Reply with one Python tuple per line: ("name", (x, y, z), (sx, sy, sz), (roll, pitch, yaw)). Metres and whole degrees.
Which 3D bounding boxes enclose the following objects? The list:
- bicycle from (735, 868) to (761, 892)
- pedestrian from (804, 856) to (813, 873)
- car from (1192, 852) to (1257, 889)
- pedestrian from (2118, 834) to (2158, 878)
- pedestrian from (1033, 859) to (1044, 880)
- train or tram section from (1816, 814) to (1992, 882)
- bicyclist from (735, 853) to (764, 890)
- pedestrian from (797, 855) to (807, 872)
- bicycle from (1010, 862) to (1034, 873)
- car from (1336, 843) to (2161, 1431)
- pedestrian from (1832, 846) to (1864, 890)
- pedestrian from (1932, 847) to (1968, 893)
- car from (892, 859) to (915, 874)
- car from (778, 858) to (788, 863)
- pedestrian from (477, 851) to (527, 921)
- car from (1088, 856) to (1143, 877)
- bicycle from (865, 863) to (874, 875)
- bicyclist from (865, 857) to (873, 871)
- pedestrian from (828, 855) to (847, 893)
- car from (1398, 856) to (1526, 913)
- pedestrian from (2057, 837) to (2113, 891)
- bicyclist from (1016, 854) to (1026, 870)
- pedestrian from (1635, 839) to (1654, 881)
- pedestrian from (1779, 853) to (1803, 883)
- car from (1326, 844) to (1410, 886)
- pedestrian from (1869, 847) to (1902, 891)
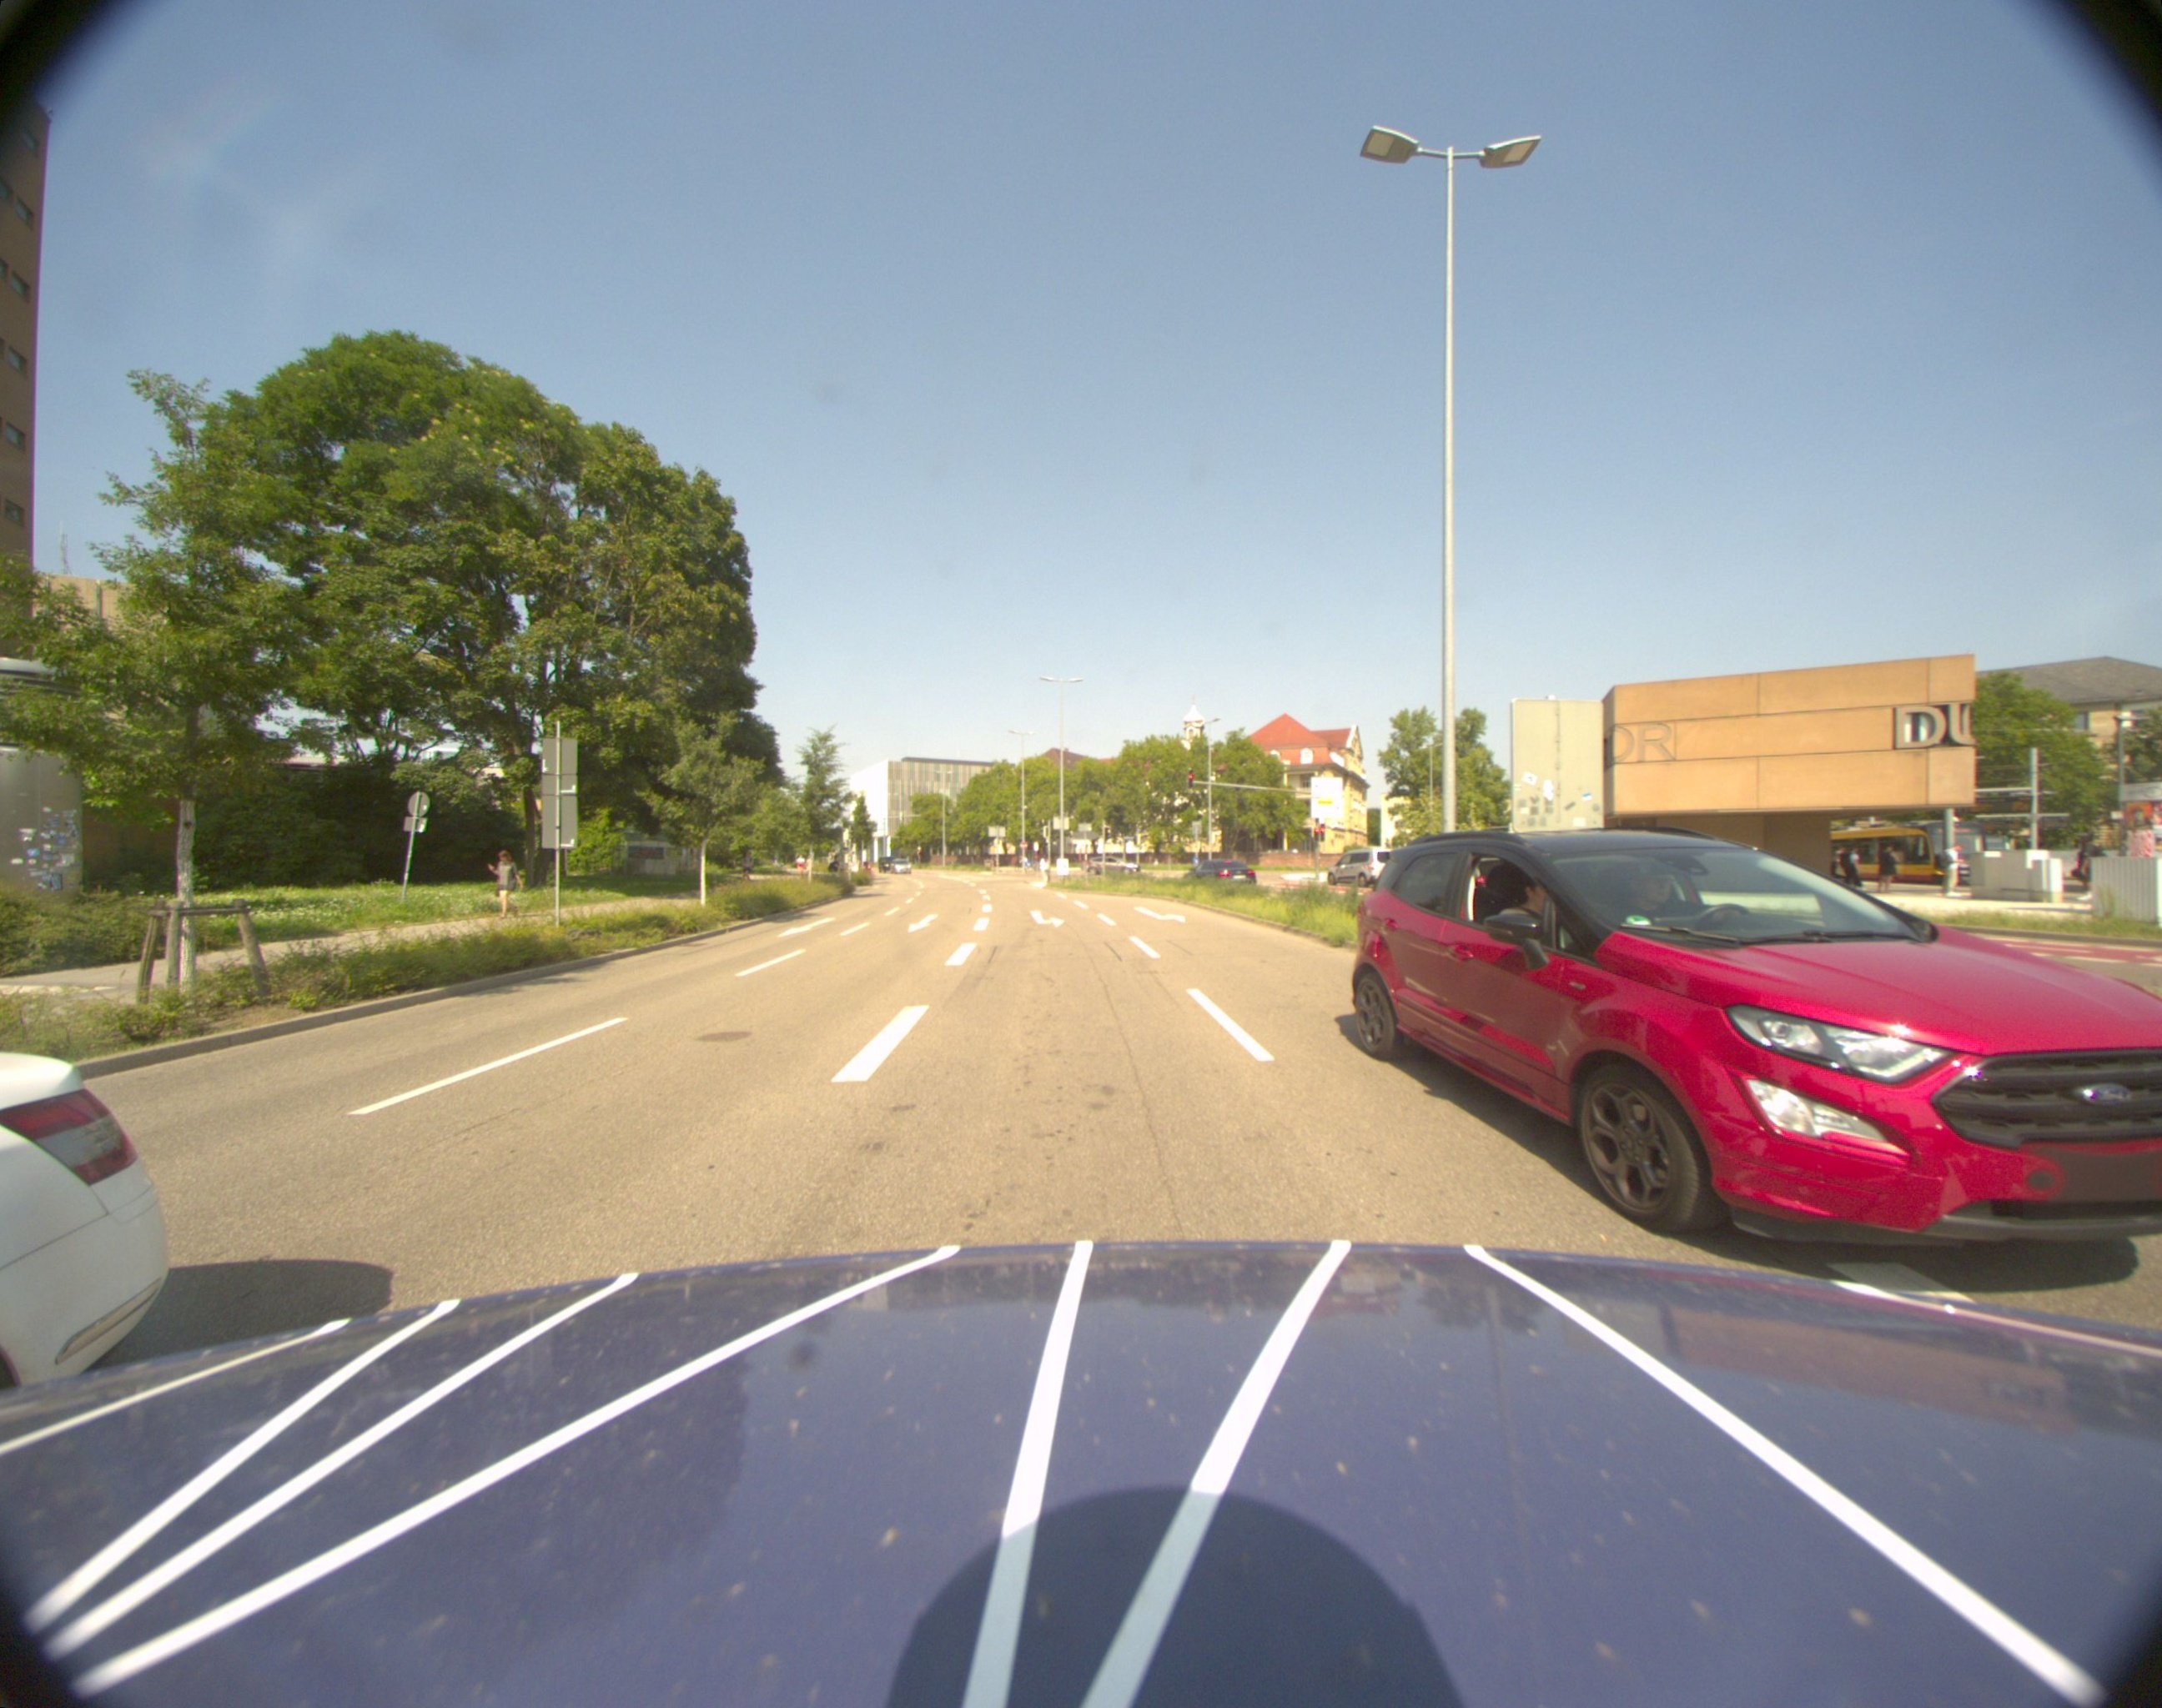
("bicycle", (-14.642, 1.144, 33.476), (0.357, 0.974, 1.782), (0, 0, 0))
("pedestrian", (-21.177, 0.779, 58.990), (0.618, 1.291, 0.436), (-3, 1, -22))
("car", (5.818, 0.627, 31.176), (1.526, 1.417, 3.474), (0, 0, -9))
("pedestrian", (44.368, 0.088, 31.903), (0.804, 1.812, 0.534), (0, 1, 28))
("pedestrian", (-2.591, 0.945, 46.347), (0.605, 1.291, 0.617), (-2, 1, -5))
("train or tram section", (47.594, -0.321, 44.640), (2.698, 3.418, 13.446), (0, 0, 28))
("bicyclist", (-14.714, 0.762, 33.756), (0.904, 1.596, 0.924), (0, 0, -2))
("pedestrian", (-21.520, 0.746, 58.611), (0.635, 1.291, 0.486), (-3, 1, -20))
("bicycle", (-5.831, 1.347, 75.038), (2.267, 1.070, 0.659), (0, 0, -7))
("car", (2.903, 0.778, 4.034), (1.694, 1.577, 3.844), (-2, 0, -1))
("pedestrian", (26.386, 0.478, 26.135), (0.539, 1.488, 0.541), (0, 1, -2))
("pedestrian", (28.611, 0.519, 25.013), (0.539, 1.488, 0.541), (0, 1, -2))
("car", (-18.938, 1.333, 80.949), (1.661, 1.521, 4.525), (-2, 0, -23))
("car", (-84.926, 1.836, 216.557), (1.877, 1.521, 4.522), (0, 0, -32))
("pedestrian", (-14.448, 0.783, 18.984), (0.672, 1.689, 0.805), (0, 0, -10))
("car", (2.733, 0.937, 59.174), (3.992, 1.608, 1.802), (0, 0, 14))
("bicycle", (-21.556, 1.529, 77.361), (0.595, 1.162, 2.231), (-1, 0, -23))
("bicyclist", (-21.608, 0.993, 77.482), (0.680, 1.392, 1.047), (-1, 0, -24))
("pedestrian", (-12.297, 1.019, 38.352), (0.823, 1.892, 0.630), (-1, 1, -13))
("car", (10.853, 0.809, 21.881), (1.527, 1.470, 3.474), (0, 0, -10))
("pedestrian", (28.009, 0.268, 21.202), (0.771, 1.488, 0.606), (0, 1, -2))
("bicyclist", (-5.912, 0.781, 75.024), (1.017, 1.542, 0.718), (0, 0, -7))
("pedestrian", (21.923, 0.228, 29.561), (0.540, 1.615, 0.689), (0, 1, 35))
("pedestrian", (26.205, 0.516, 28.033), (0.538, 1.093, 0.543), (0, 1, 31))
("car", (13.300, 0.452, 35.466), (1.869, 1.843, 3.911), (0, 1, -12))
("pedestrian", (27.576, 0.505, 26.040), (0.539, 1.488, 0.541), (0, 1, -2))
